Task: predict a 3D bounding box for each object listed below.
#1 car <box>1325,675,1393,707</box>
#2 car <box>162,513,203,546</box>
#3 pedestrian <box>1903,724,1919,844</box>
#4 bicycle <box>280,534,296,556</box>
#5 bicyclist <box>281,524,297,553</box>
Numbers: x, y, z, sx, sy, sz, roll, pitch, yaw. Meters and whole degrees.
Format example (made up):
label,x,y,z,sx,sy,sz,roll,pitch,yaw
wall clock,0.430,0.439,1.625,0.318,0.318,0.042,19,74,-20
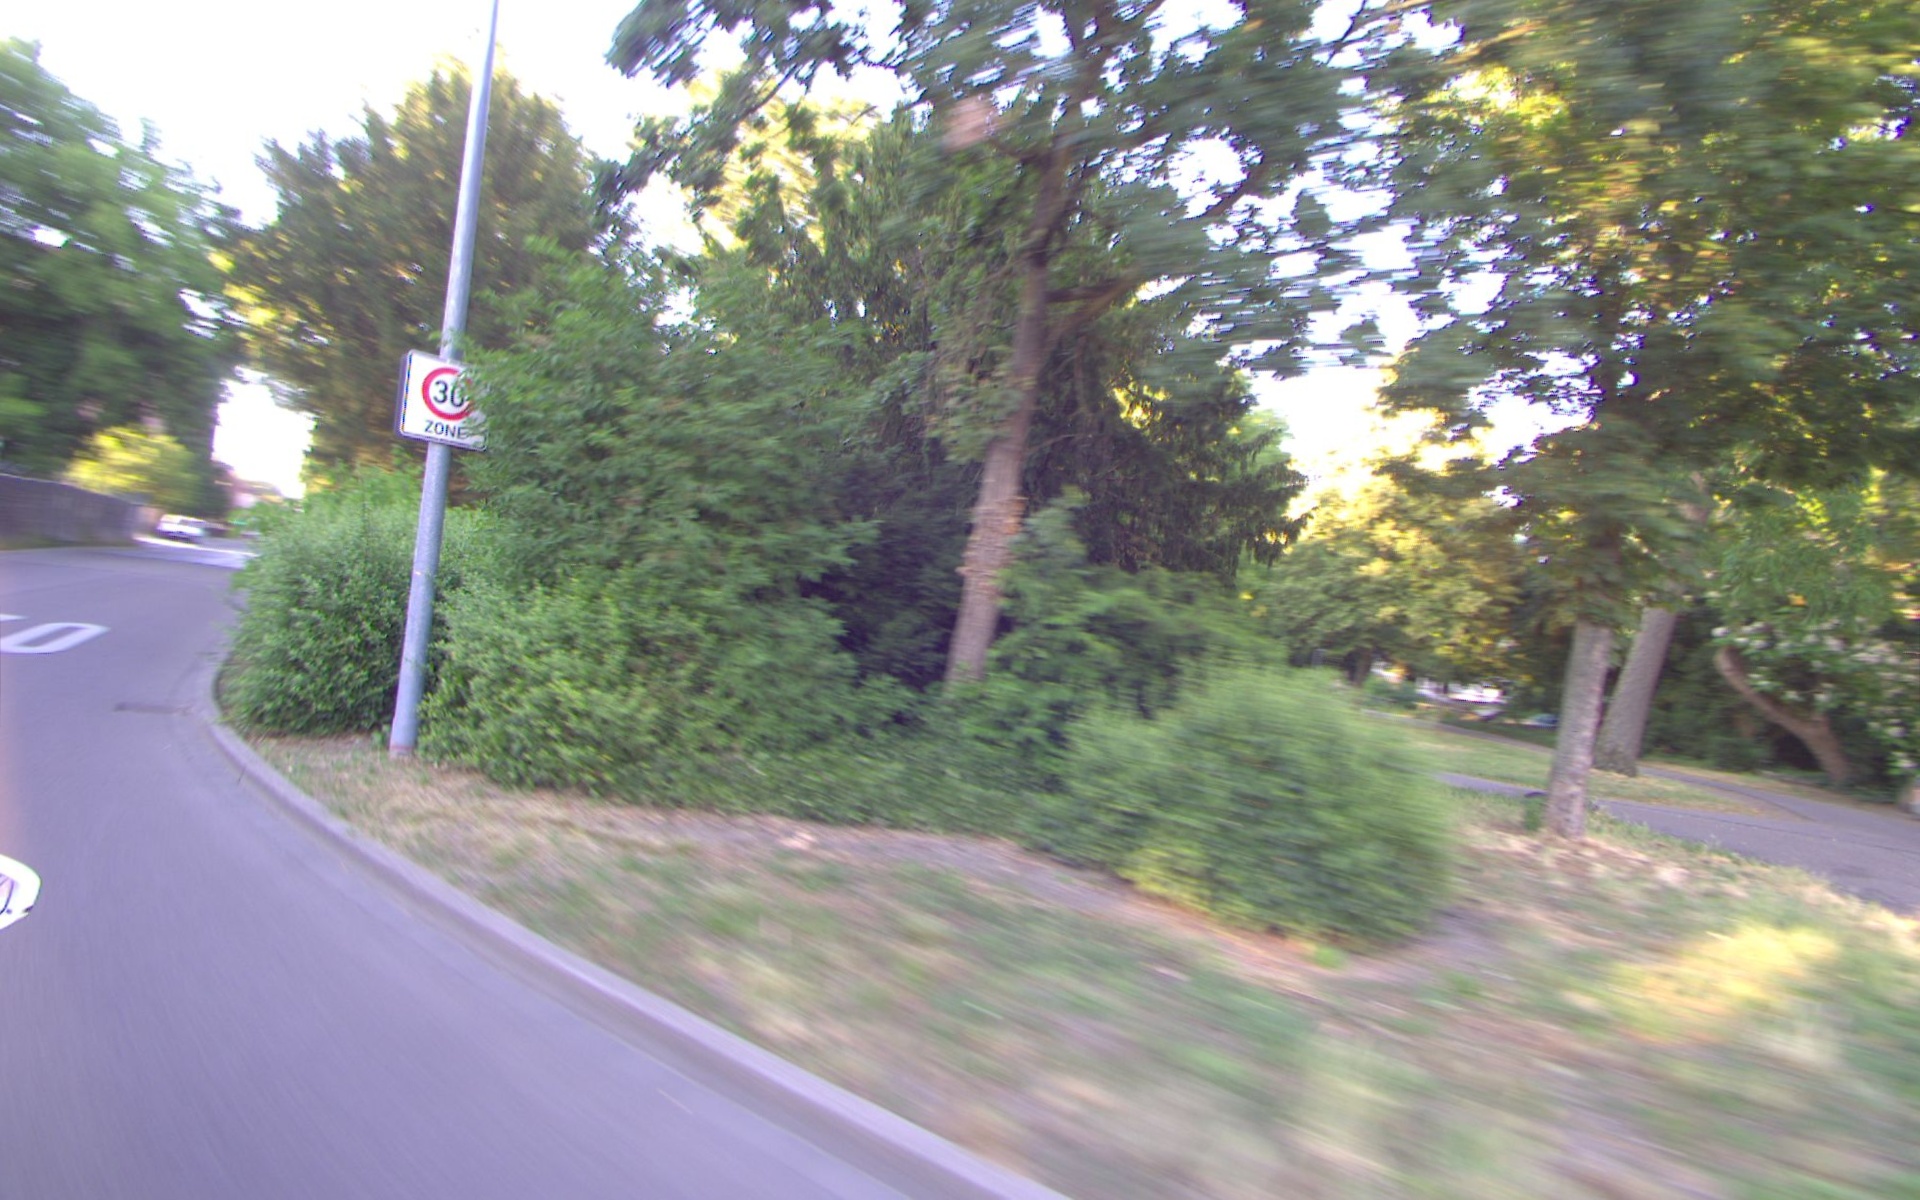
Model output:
label,x,y,z,sx,sy,sz,roll,pitch,yaw
car,22.658,5.170,57.238,3.171,1.370,1.565,7,-1,8
car,-58.353,-5.252,75.547,1.873,2.035,5.180,10,-4,-34
pedestrian,14.751,2.788,14.885,0.733,1.775,0.965,7,-1,23
bicycle,-40.983,-3.364,61.356,0.635,1.206,1.859,10,-2,-34
bicyclist,-40.945,-3.761,61.380,0.636,1.686,0.835,9,-2,-35
